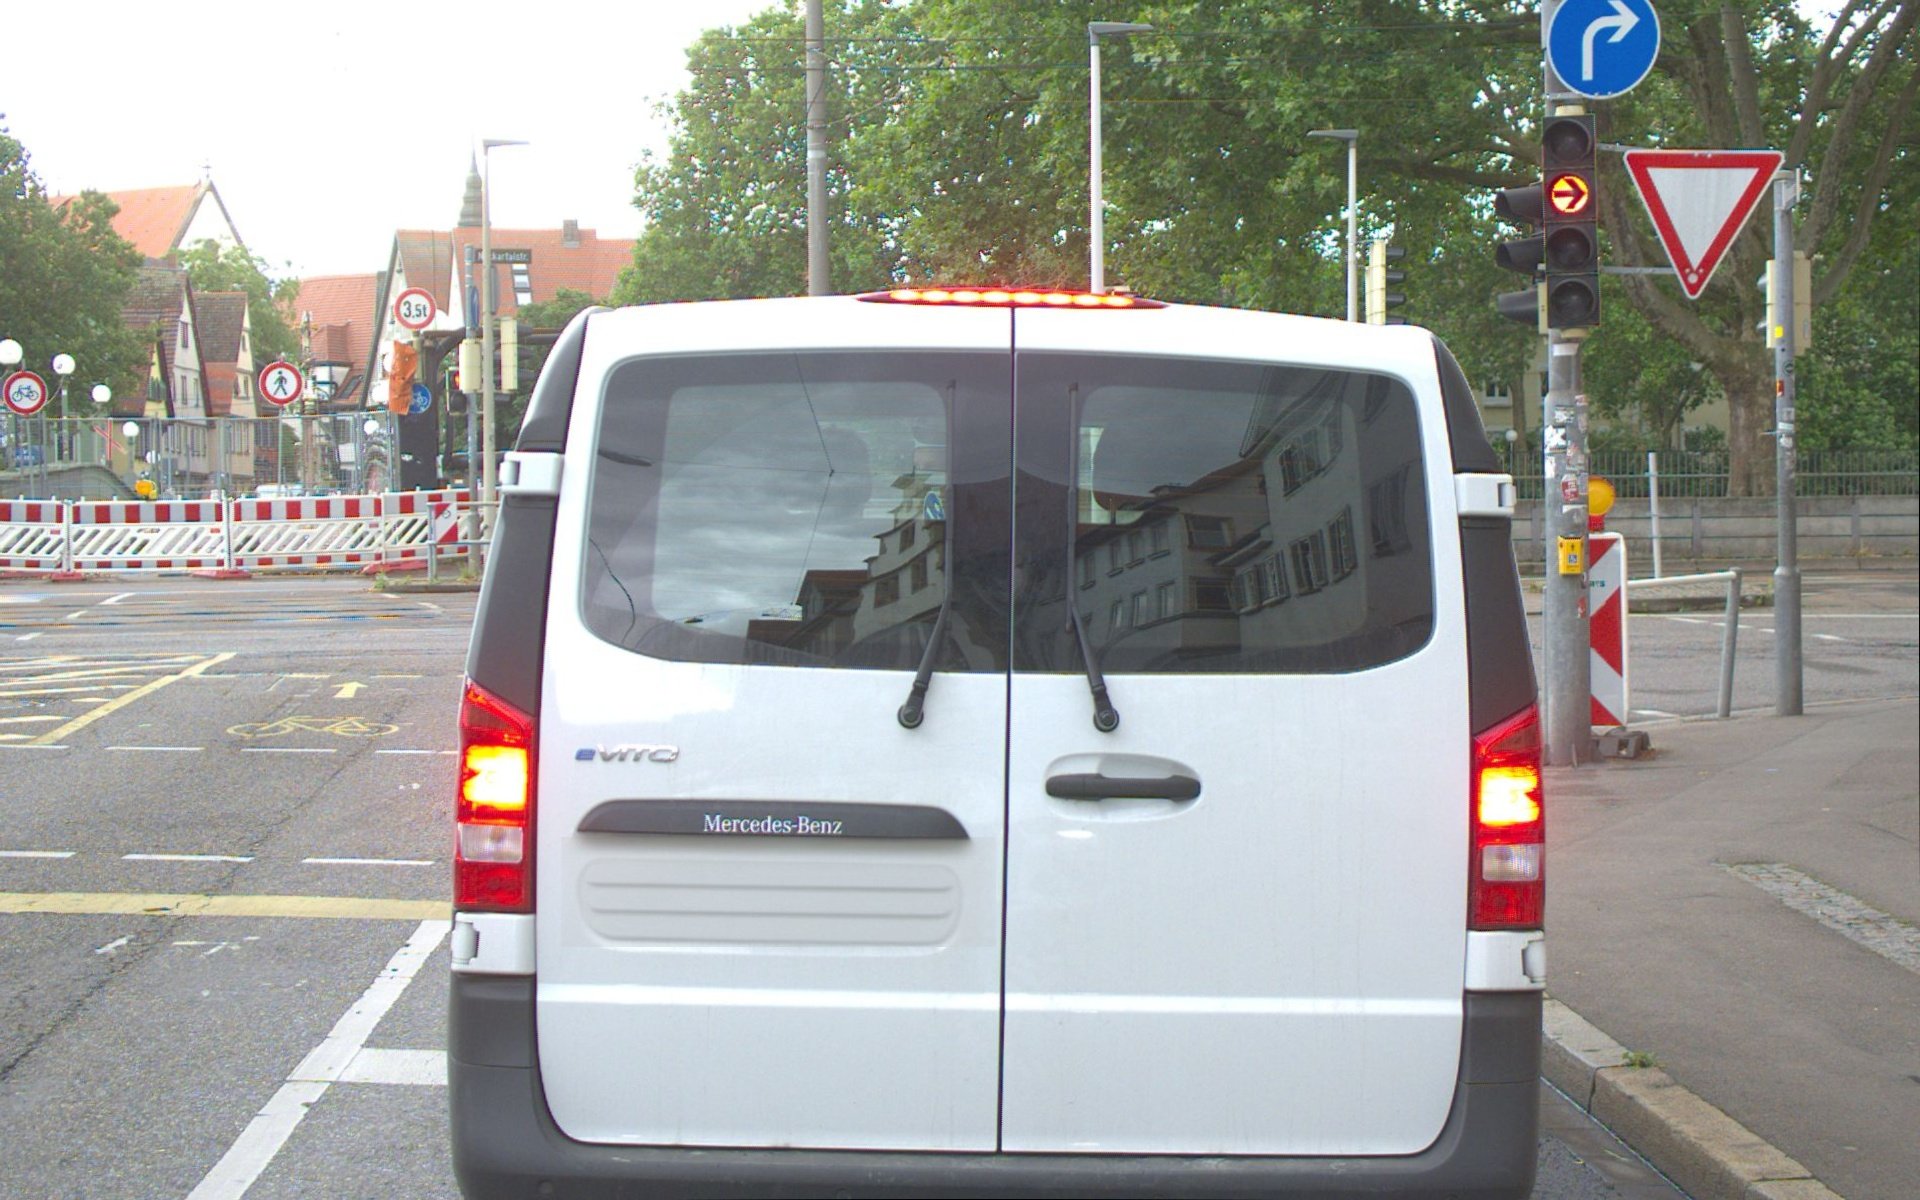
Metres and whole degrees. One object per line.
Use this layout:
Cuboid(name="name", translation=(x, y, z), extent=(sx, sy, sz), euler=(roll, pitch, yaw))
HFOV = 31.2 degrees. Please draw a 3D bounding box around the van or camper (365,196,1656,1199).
Cuboid(name="van or camper", translation=(-0.035, 0.277, 7.452), extent=(1.937, 1.918, 4.442), euler=(1, 2, -3))
